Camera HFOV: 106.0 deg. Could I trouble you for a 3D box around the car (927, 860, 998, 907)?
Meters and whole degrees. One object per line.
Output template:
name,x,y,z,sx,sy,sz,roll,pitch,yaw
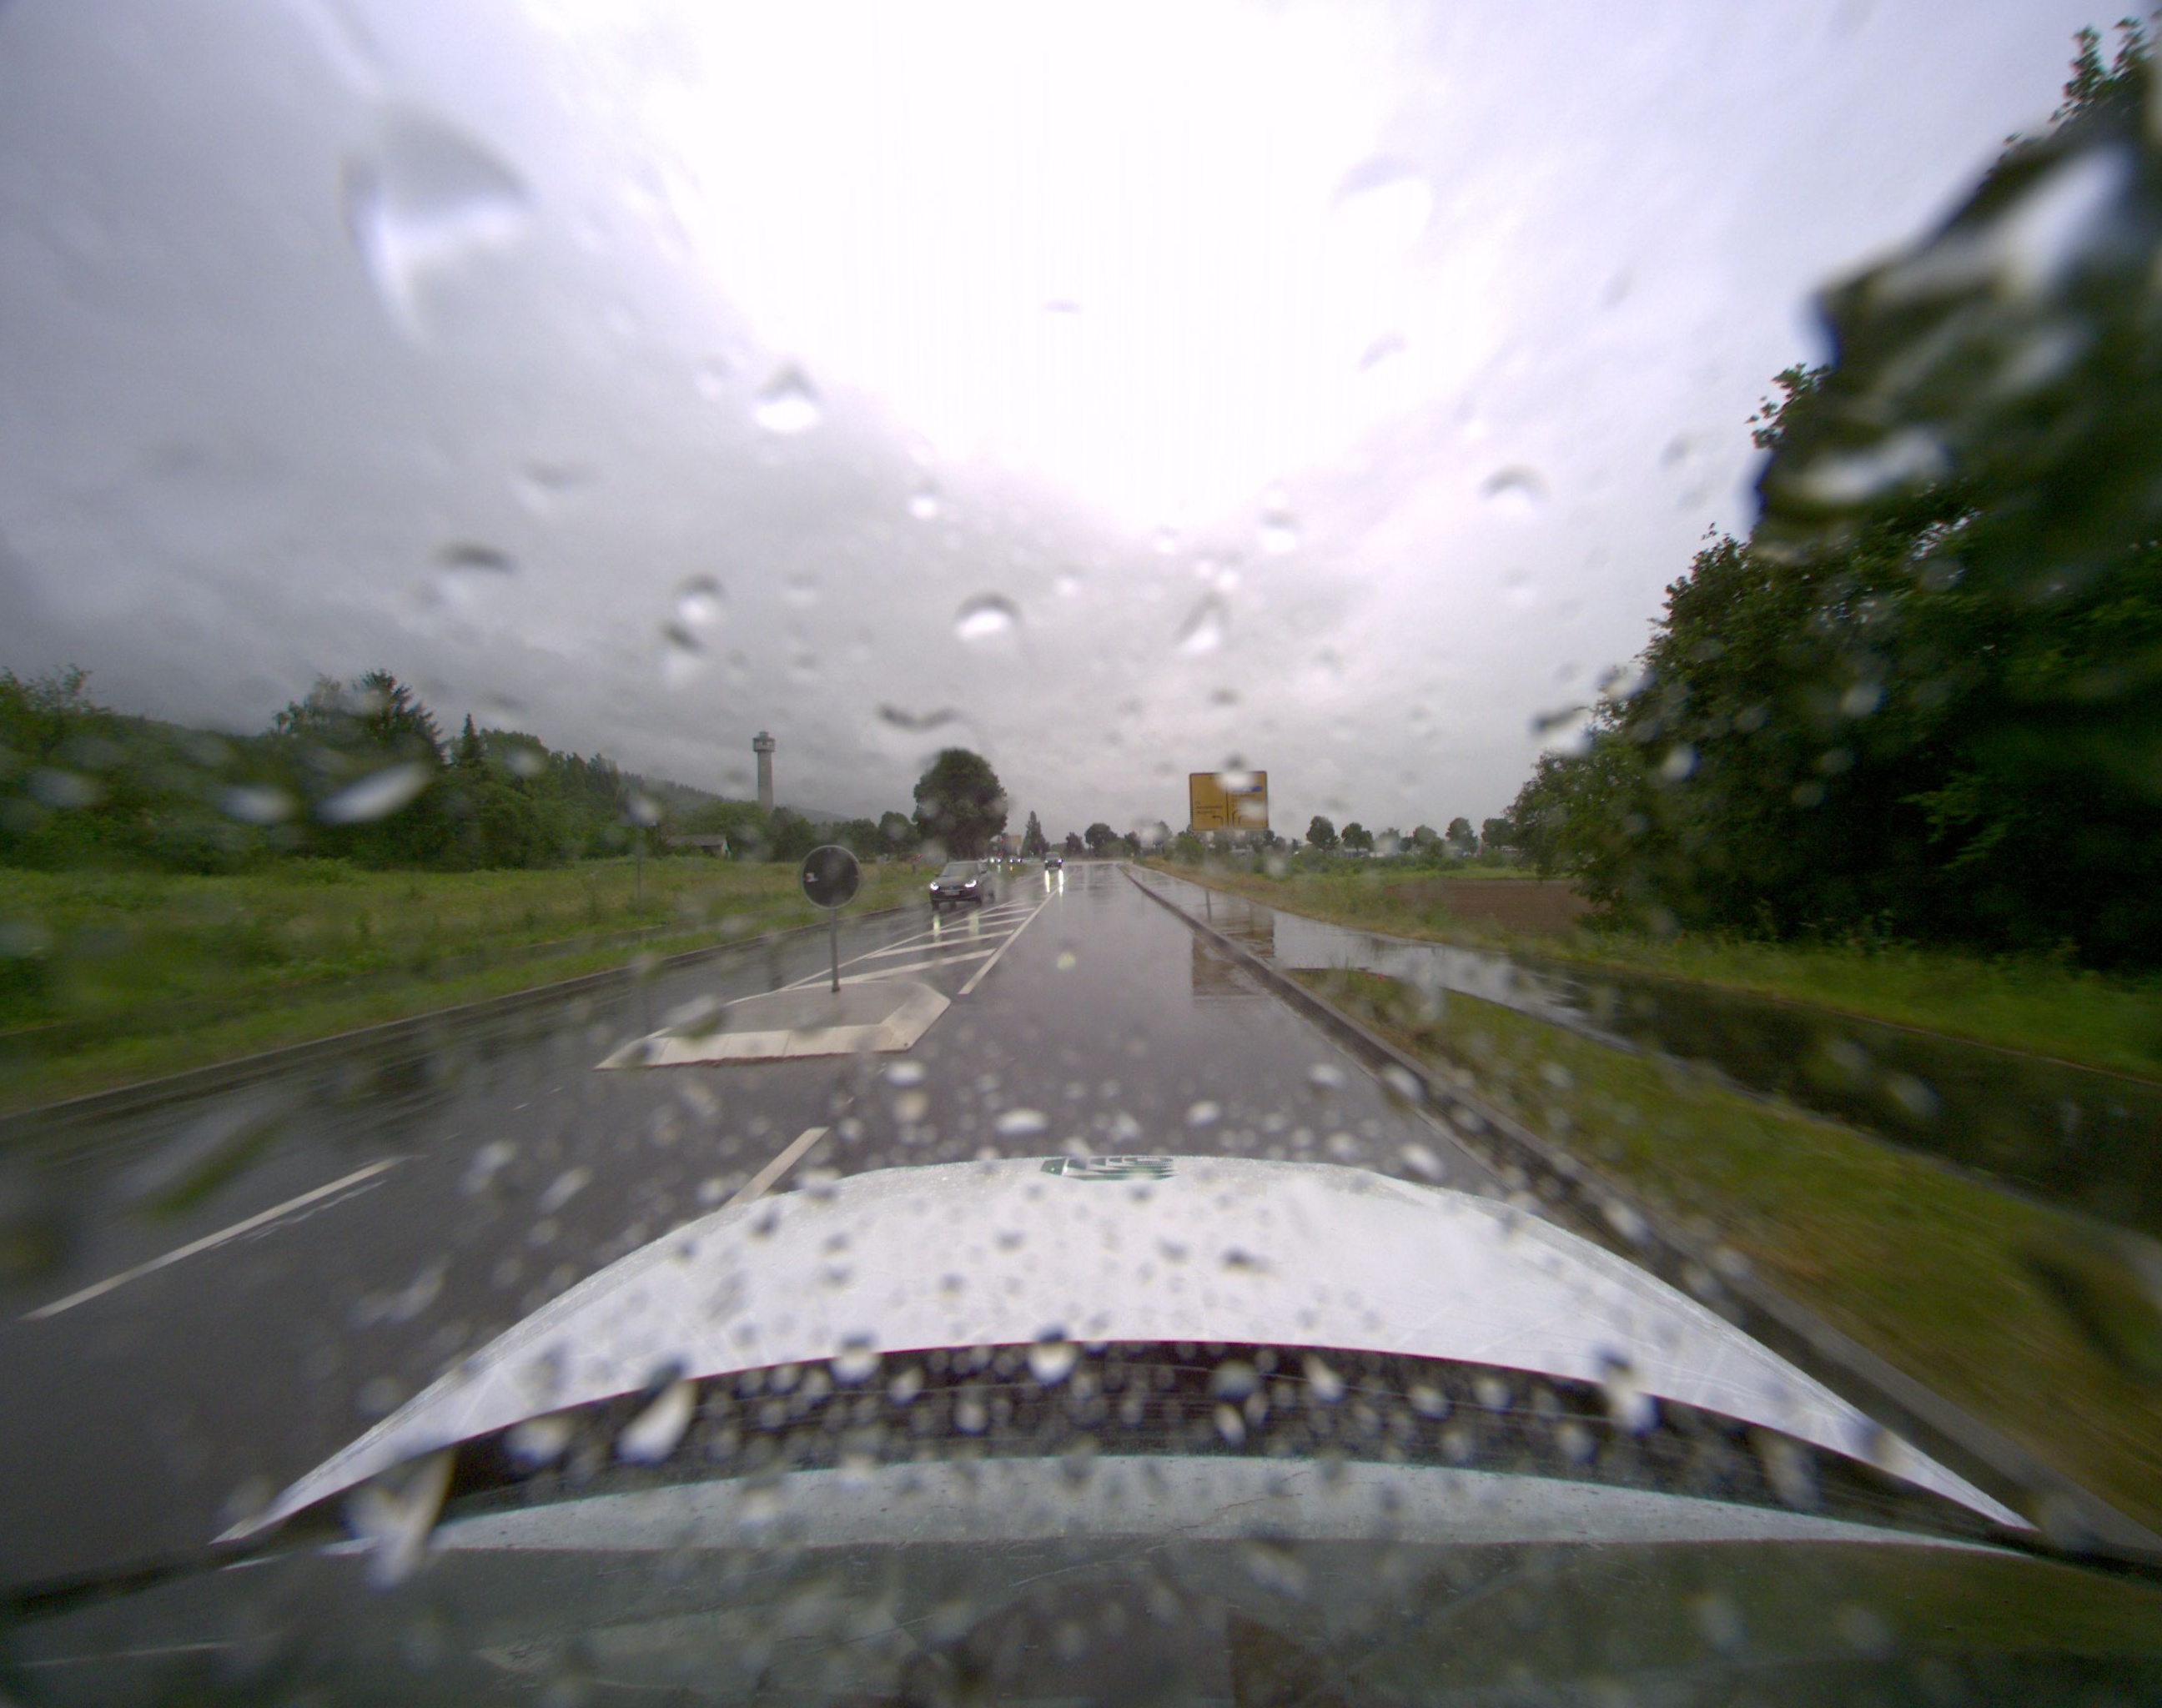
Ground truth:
car,-4.090,0.979,28.649,1.690,1.402,3.770,-4,0,3

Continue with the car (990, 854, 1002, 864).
car,-17.643,1.054,169.043,1.996,2.013,3.982,2,0,-14

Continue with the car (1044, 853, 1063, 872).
car,-3.182,0.940,94.865,1.987,1.972,4.956,-4,0,0

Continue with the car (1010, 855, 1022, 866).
car,-11.931,1.158,149.773,1.903,1.721,3.991,-5,0,-6
